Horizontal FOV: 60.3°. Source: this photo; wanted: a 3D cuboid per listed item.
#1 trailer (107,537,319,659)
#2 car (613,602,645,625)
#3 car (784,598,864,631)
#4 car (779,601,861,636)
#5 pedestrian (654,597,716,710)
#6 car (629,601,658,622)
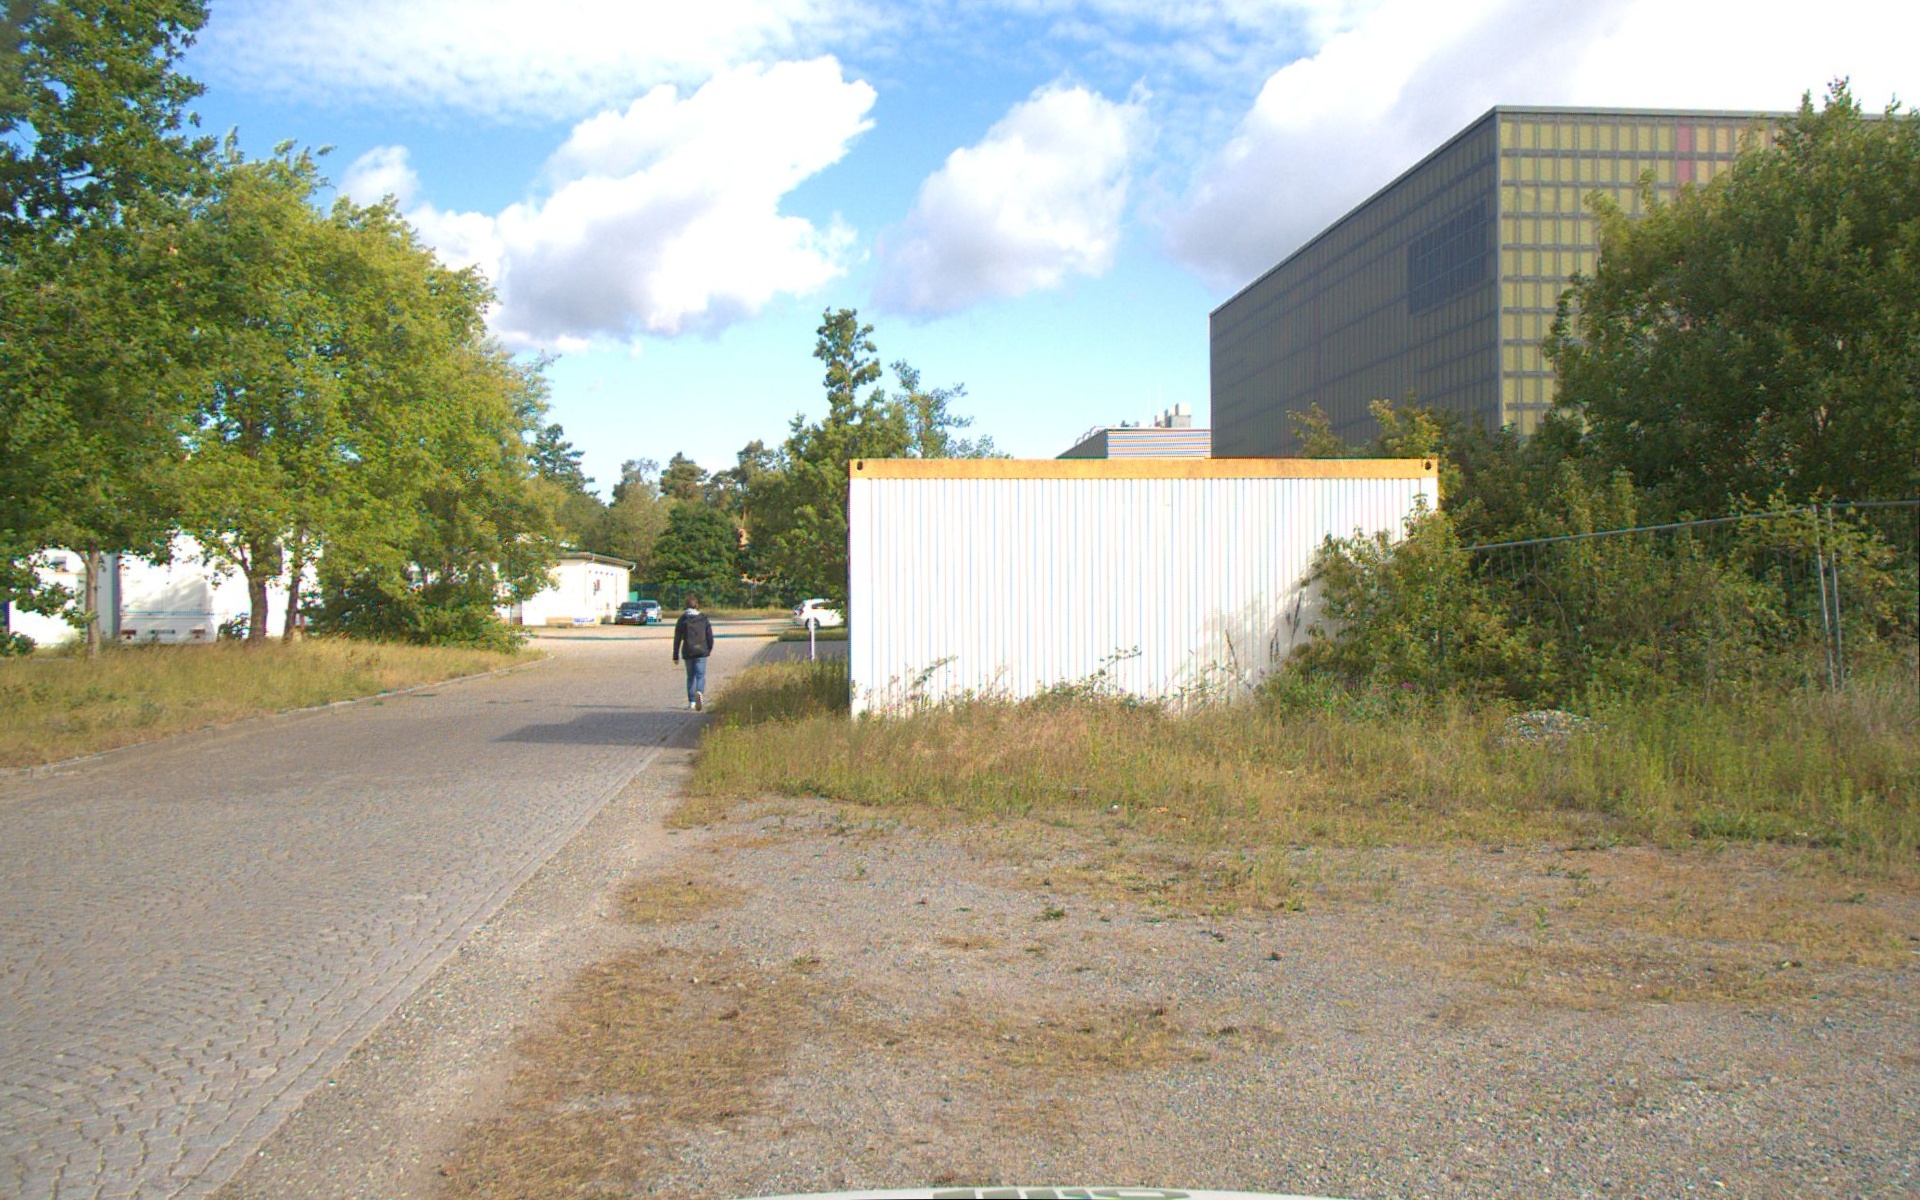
[{"bbox_3d":[-23.640,-0.062,53.050,2.859,3.532,9.893,-1,0,-4],"label":"trailer"},{"bbox_3d":[-21.088,0.865,105.349,1.958,1.395,3.988,-1,0,-12],"label":"car"},{"bbox_3d":[-6.994,0.728,85.338,3.905,1.671,2.000,-1,0,-1],"label":"car"},{"bbox_3d":[-6.984,0.926,82.698,3.905,1.671,2.000,-1,0,-1],"label":"car"},{"bbox_3d":[-3.963,0.755,23.908,0.849,1.586,1.026,-1,0,-9],"label":"pedestrian"},{"bbox_3d":[-22.115,0.799,115.567,1.958,1.400,3.988,-1,0,-12],"label":"car"}]
